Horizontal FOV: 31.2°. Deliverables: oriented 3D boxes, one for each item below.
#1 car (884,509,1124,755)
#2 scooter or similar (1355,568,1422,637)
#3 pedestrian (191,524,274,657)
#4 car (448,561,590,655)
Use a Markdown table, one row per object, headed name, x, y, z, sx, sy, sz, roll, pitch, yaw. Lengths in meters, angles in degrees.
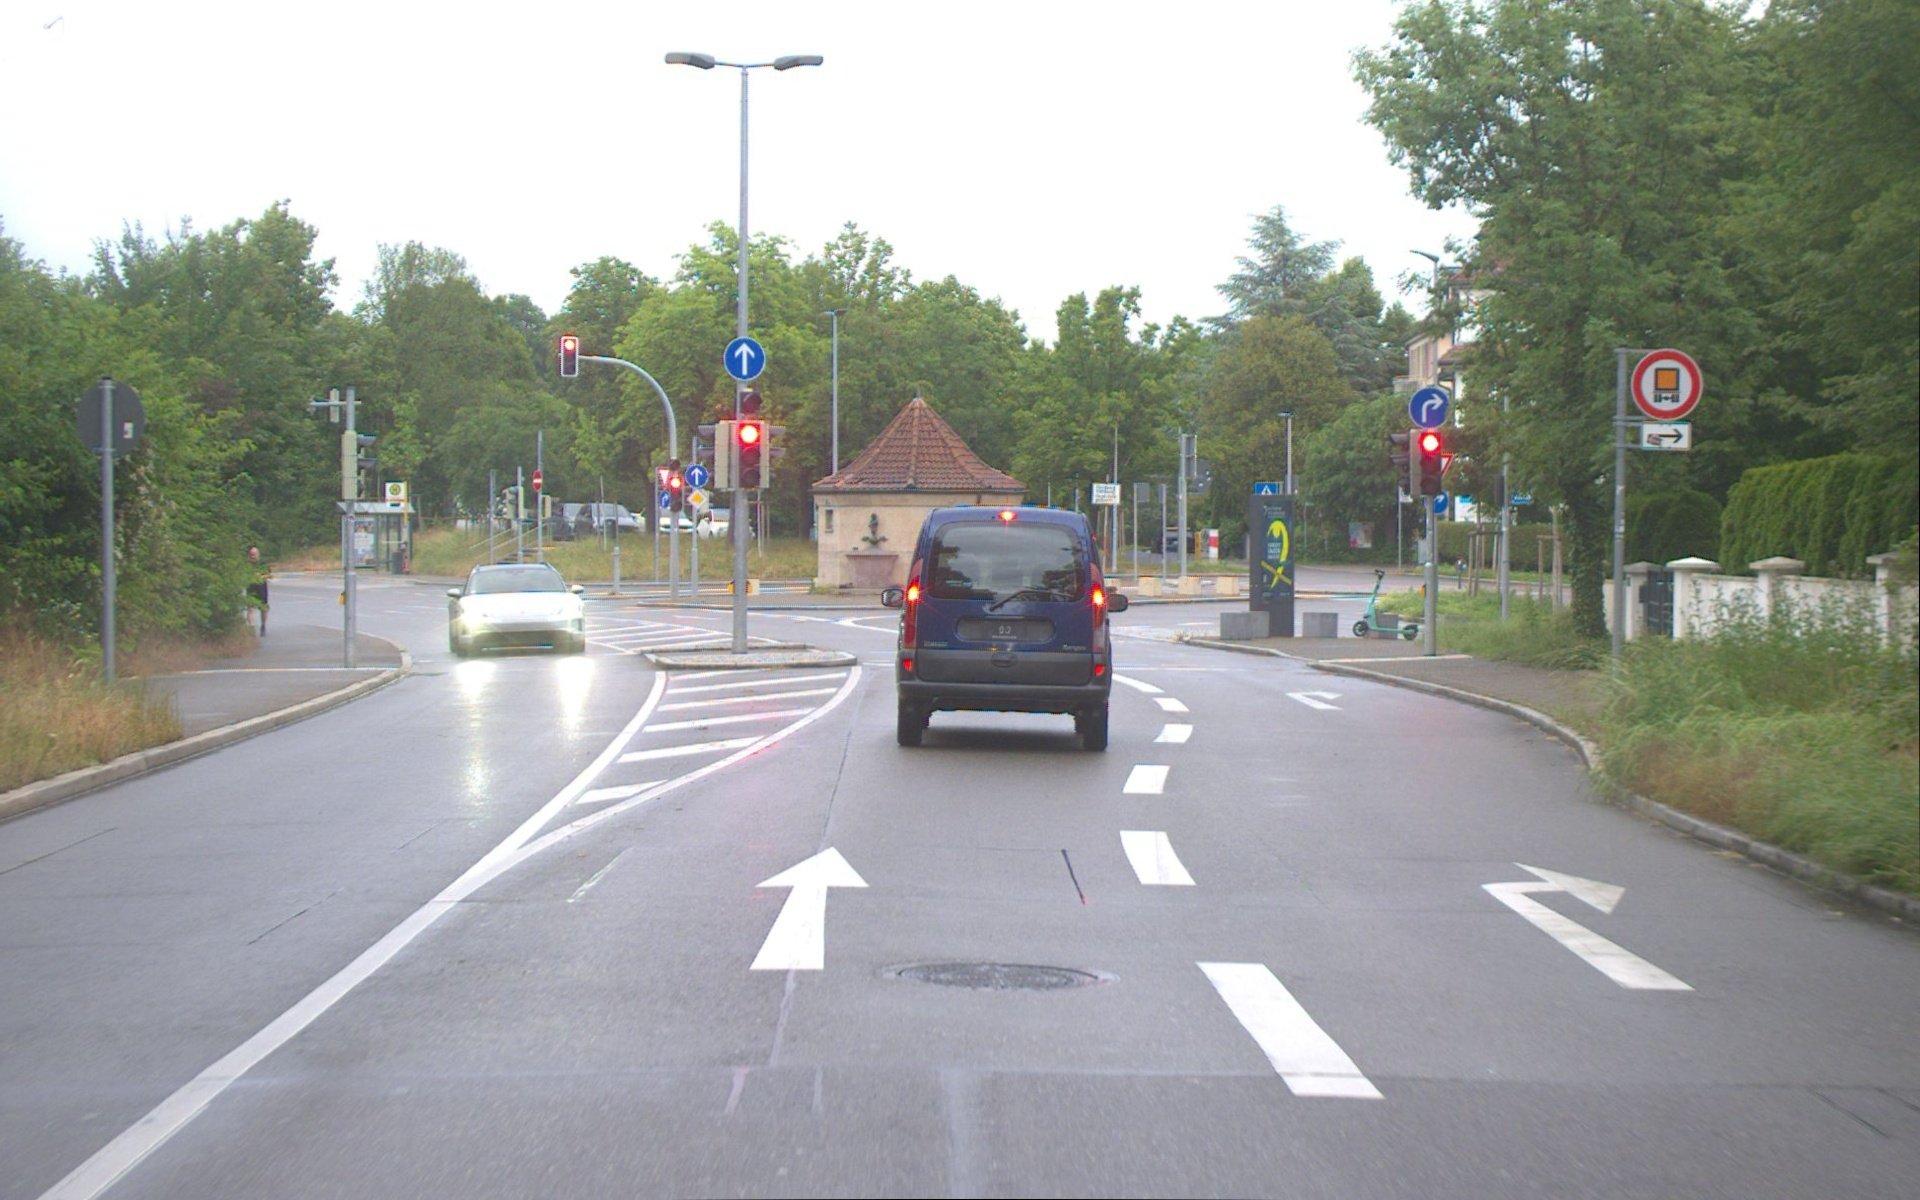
| name | x | y | z | sx | sy | sz | roll | pitch | yaw |
| --- | --- | --- | --- | --- | --- | --- | --- | --- | --- |
| car | 0.279 | 0.204 | 27.360 | 1.731 | 1.780 | 4.000 | 1 | 1 | -1 |
| scooter or similar | 7.647 | 0.051 | 61.371 | 1.149 | 1.215 | 0.406 | 1 | -1 | 0 |
| pedestrian | -11.169 | -0.146 | 52.804 | 1.088 | 2.007 | 1.000 | 1 | 0 | -4 |
| car | -6.968 | 0.098 | 54.059 | 1.993 | 1.307 | 4.361 | -2 | 1 | -10 |
